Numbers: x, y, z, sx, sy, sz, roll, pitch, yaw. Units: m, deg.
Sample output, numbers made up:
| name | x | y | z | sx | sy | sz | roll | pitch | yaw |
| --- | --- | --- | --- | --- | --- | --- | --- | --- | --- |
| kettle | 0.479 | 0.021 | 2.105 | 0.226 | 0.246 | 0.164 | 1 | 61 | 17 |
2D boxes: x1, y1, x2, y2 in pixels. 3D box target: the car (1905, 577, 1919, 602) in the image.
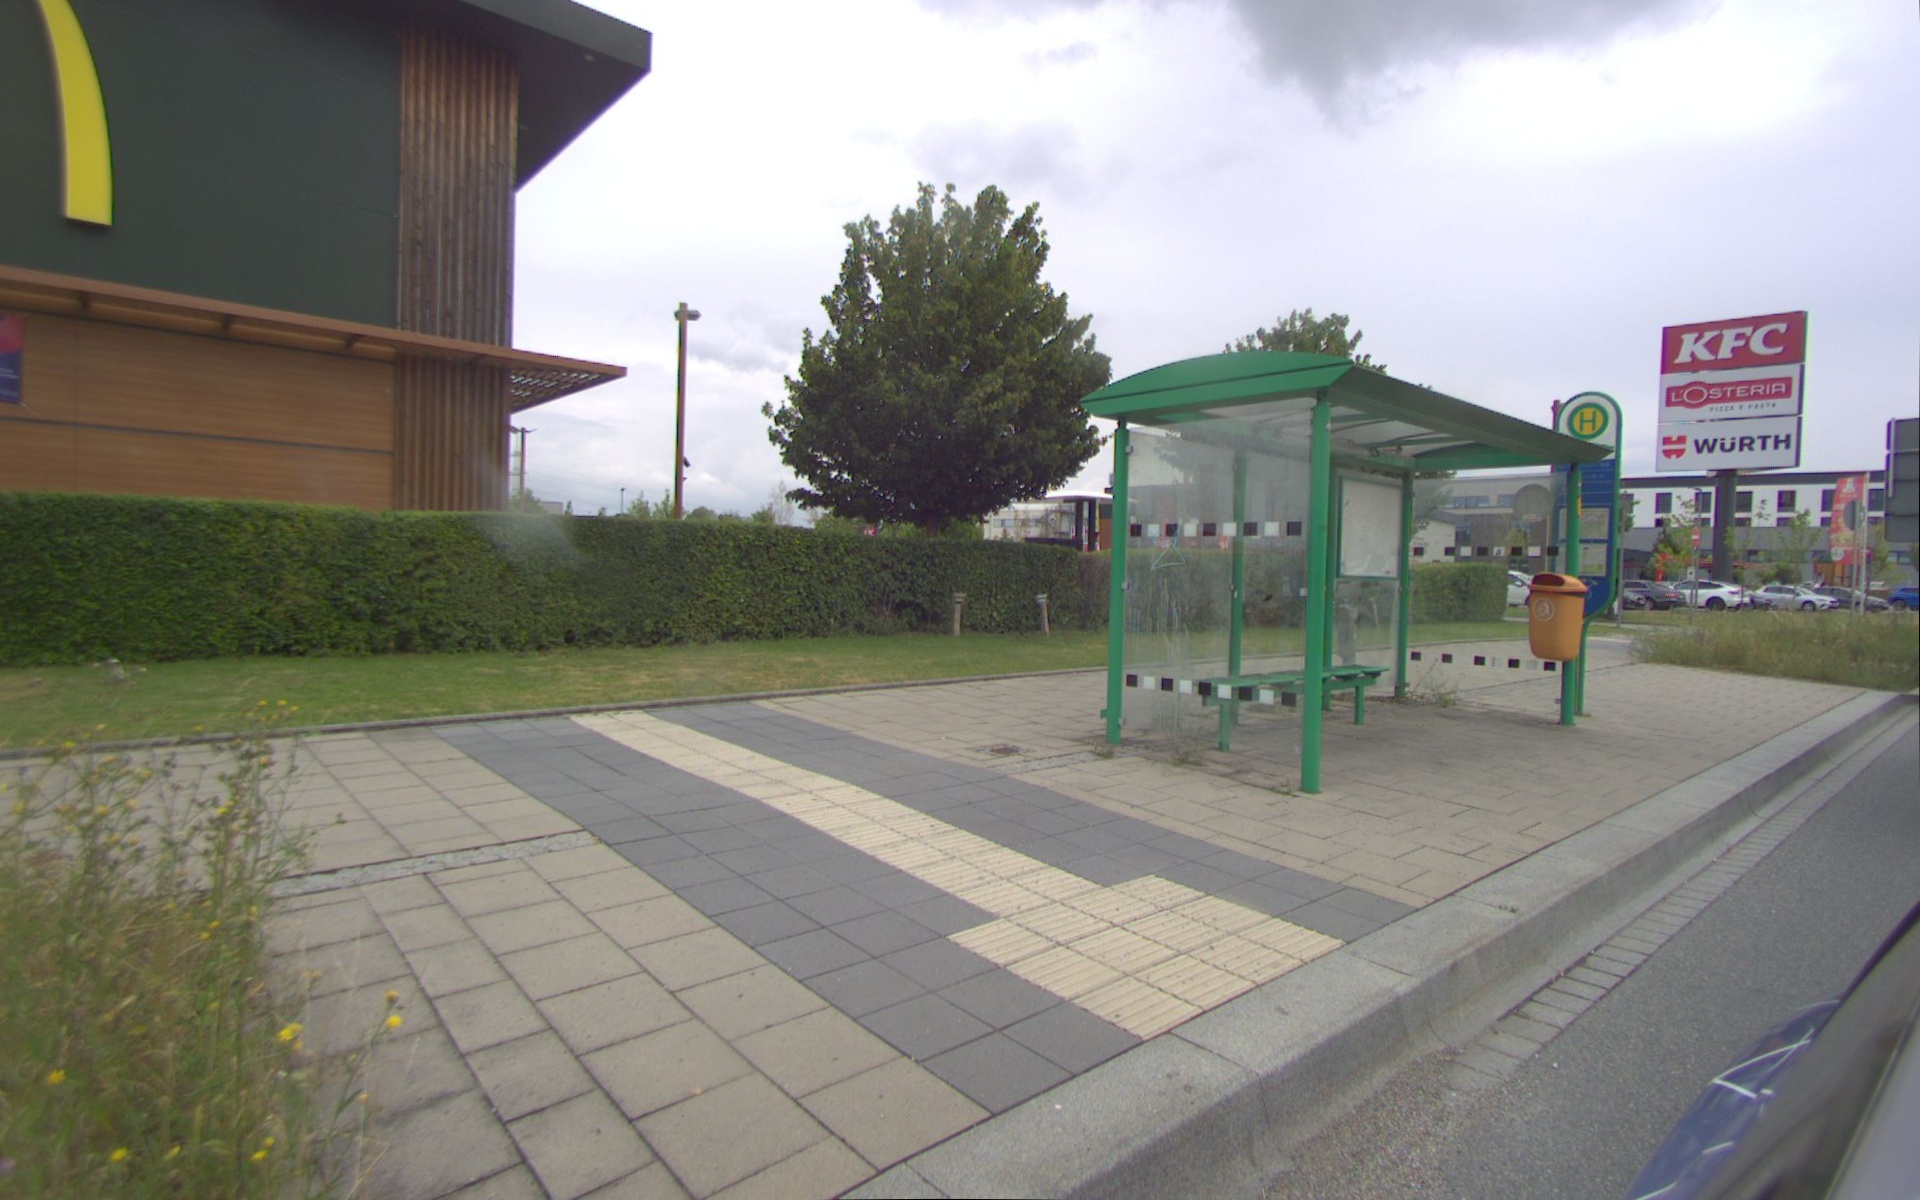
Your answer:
| name | x | y | z | sx | sy | sz | roll | pitch | yaw |
| --- | --- | --- | --- | --- | --- | --- | --- | --- | --- |
| car | 60.851 | -0.646 | 61.976 | 1.809 | 1.504 | 4.008 | -1 | 1 | -24 |

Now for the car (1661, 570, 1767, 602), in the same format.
| name | x | y | z | sx | sy | sz | roll | pitch | yaw |
| --- | --- | --- | --- | --- | --- | --- | --- | --- | --- |
| car | 38.853 | -0.737 | 52.223 | 1.811 | 1.541 | 4.004 | 0 | 2 | -32 |

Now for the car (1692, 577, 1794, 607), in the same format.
| name | x | y | z | sx | sy | sz | roll | pitch | yaw |
| --- | --- | --- | --- | --- | --- | --- | --- | --- | --- |
| car | 42.858 | -0.474 | 55.483 | 1.811 | 1.504 | 4.003 | 0 | 2 | -33 |

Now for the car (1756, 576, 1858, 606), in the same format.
| name | x | y | z | sx | sy | sz | roll | pitch | yaw |
| --- | --- | --- | --- | --- | --- | --- | --- | --- | --- |
| car | 47.490 | -0.517 | 56.813 | 1.810 | 1.504 | 4.007 | 0 | 2 | -28 |

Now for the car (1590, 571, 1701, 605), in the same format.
| name | x | y | z | sx | sy | sz | roll | pitch | yaw |
| --- | --- | --- | --- | --- | --- | --- | --- | --- | --- |
| car | 33.013 | -0.583 | 48.846 | 1.811 | 1.504 | 4.004 | 0 | 2 | -32 |

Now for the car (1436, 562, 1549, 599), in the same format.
| name | x | y | z | sx | sy | sz | roll | pitch | yaw |
| --- | --- | --- | --- | --- | --- | --- | --- | --- | --- |
| car | 23.438 | -0.883 | 44.663 | 1.814 | 1.546 | 3.996 | 0 | 2 | -40 |

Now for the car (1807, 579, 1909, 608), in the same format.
| name | x | y | z | sx | sy | sz | roll | pitch | yaw |
| --- | --- | --- | --- | --- | --- | --- | --- | --- | --- |
| car | 51.854 | -0.410 | 58.511 | 1.810 | 1.504 | 4.007 | 0 | 2 | -28 |

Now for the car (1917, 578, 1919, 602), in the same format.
| name | x | y | z | sx | sy | sz | roll | pitch | yaw |
| --- | --- | --- | --- | --- | --- | --- | --- | --- | --- |
| car | 62.969 | -0.627 | 63.392 | 1.809 | 1.504 | 4.008 | -1 | 1 | -24 |

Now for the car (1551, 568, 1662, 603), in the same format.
| name | x | y | z | sx | sy | sz | roll | pitch | yaw |
| --- | --- | --- | --- | --- | --- | --- | --- | --- | --- |
| car | 30.379 | -0.700 | 47.636 | 1.811 | 1.504 | 4.004 | 0 | 2 | -32 |
